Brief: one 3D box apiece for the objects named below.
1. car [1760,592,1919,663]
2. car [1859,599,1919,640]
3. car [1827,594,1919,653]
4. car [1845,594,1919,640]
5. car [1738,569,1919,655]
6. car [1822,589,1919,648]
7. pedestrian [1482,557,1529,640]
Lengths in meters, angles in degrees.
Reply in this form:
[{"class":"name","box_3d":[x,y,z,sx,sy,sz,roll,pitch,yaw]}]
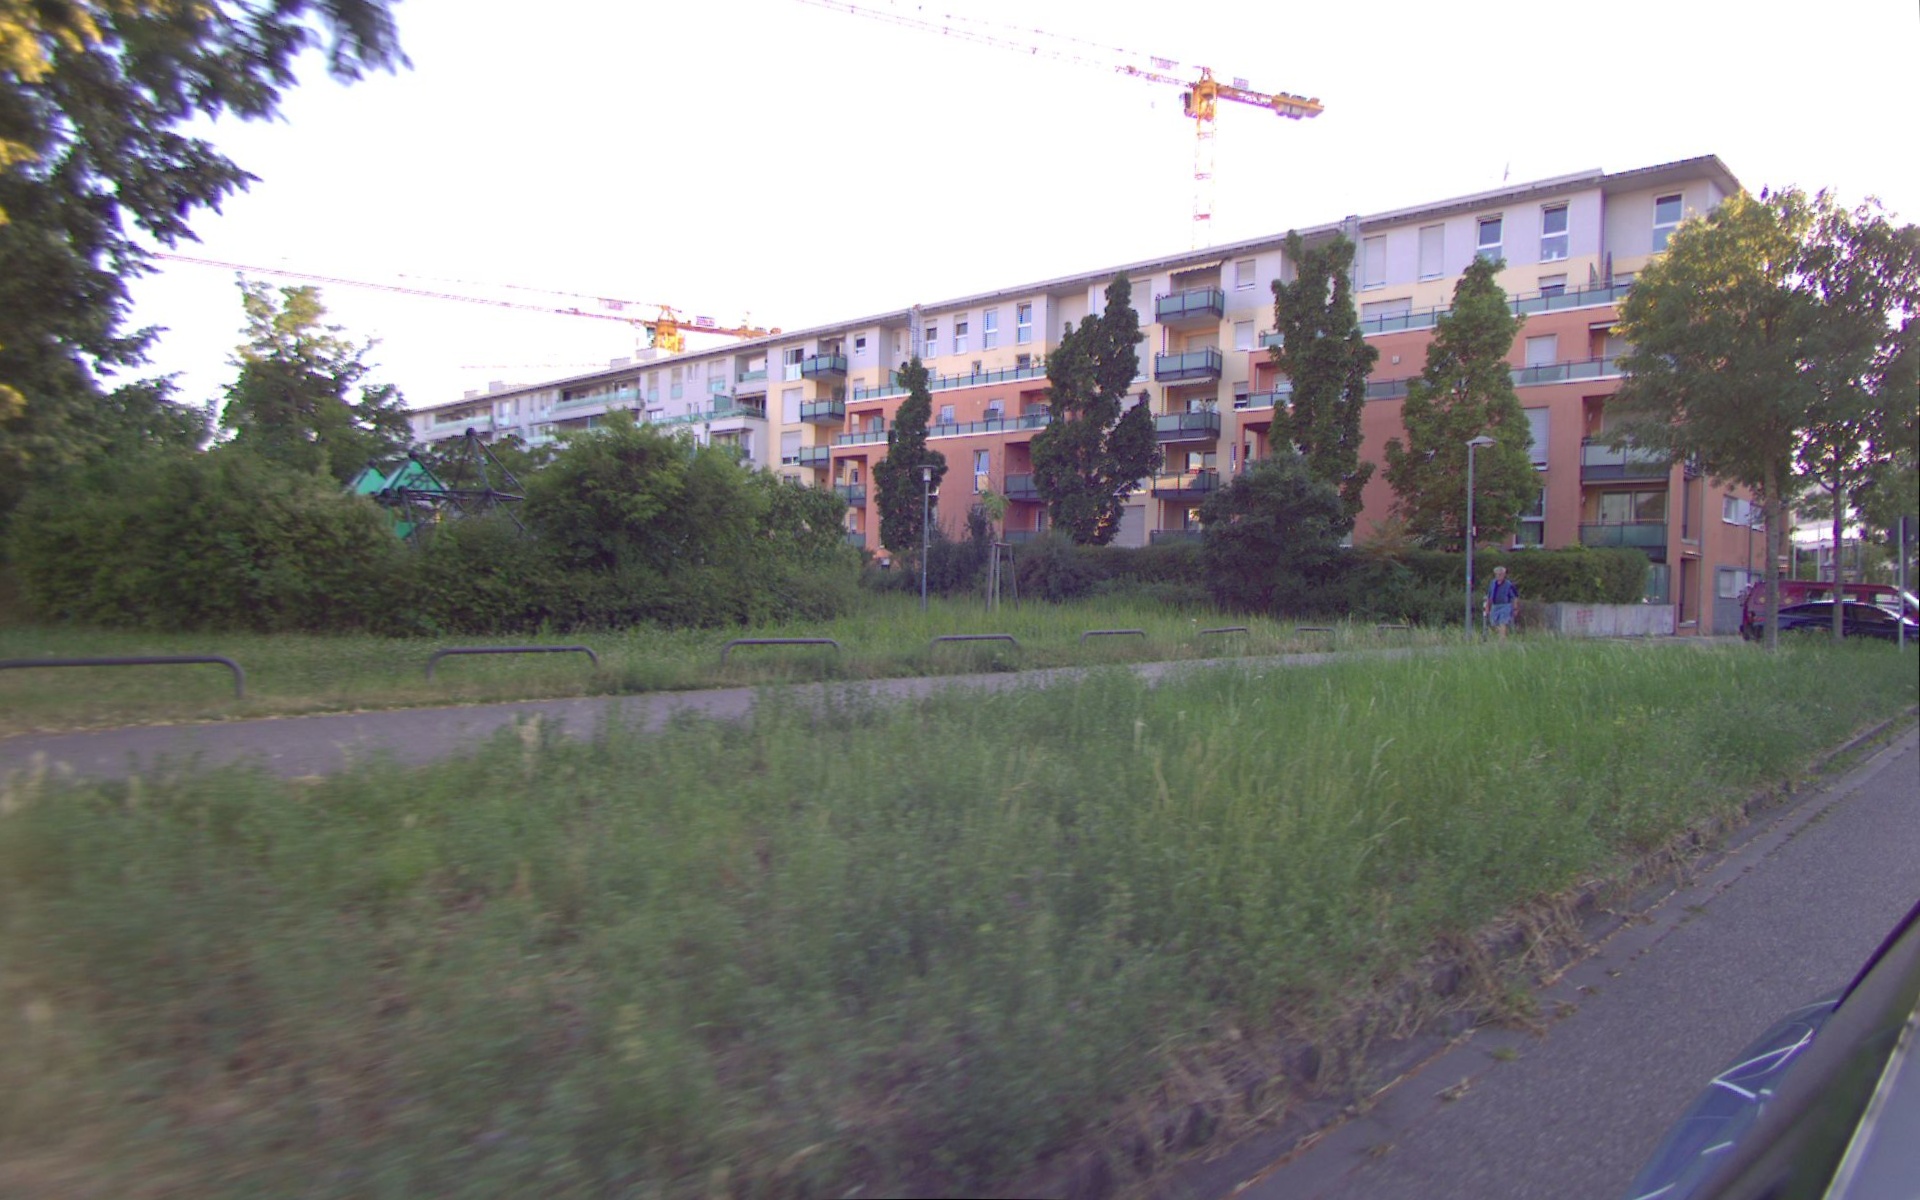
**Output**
[{"class":"car","box_3d":[22.602,0.667,24.595,1.779,1.576,4.678,1,1,-41]},{"class":"car","box_3d":[37.006,0.774,38.761,1.587,1.492,3.751,0,2,-45]},{"class":"car","box_3d":[26.473,0.687,27.994,1.587,1.483,3.534,1,3,-40]},{"class":"car","box_3d":[35.187,0.668,36.988,1.643,1.588,4.059,1,2,-40]},{"class":"car","box_3d":[24.114,0.287,27.036,1.980,2.143,4.932,1,1,-39]},{"class":"car","box_3d":[28.220,0.590,29.658,1.761,1.588,4.226,1,3,-40]},{"class":"pedestrian","box_3d":[11.844,-0.043,21.977,0.687,1.765,0.670,1,1,-41]}]
